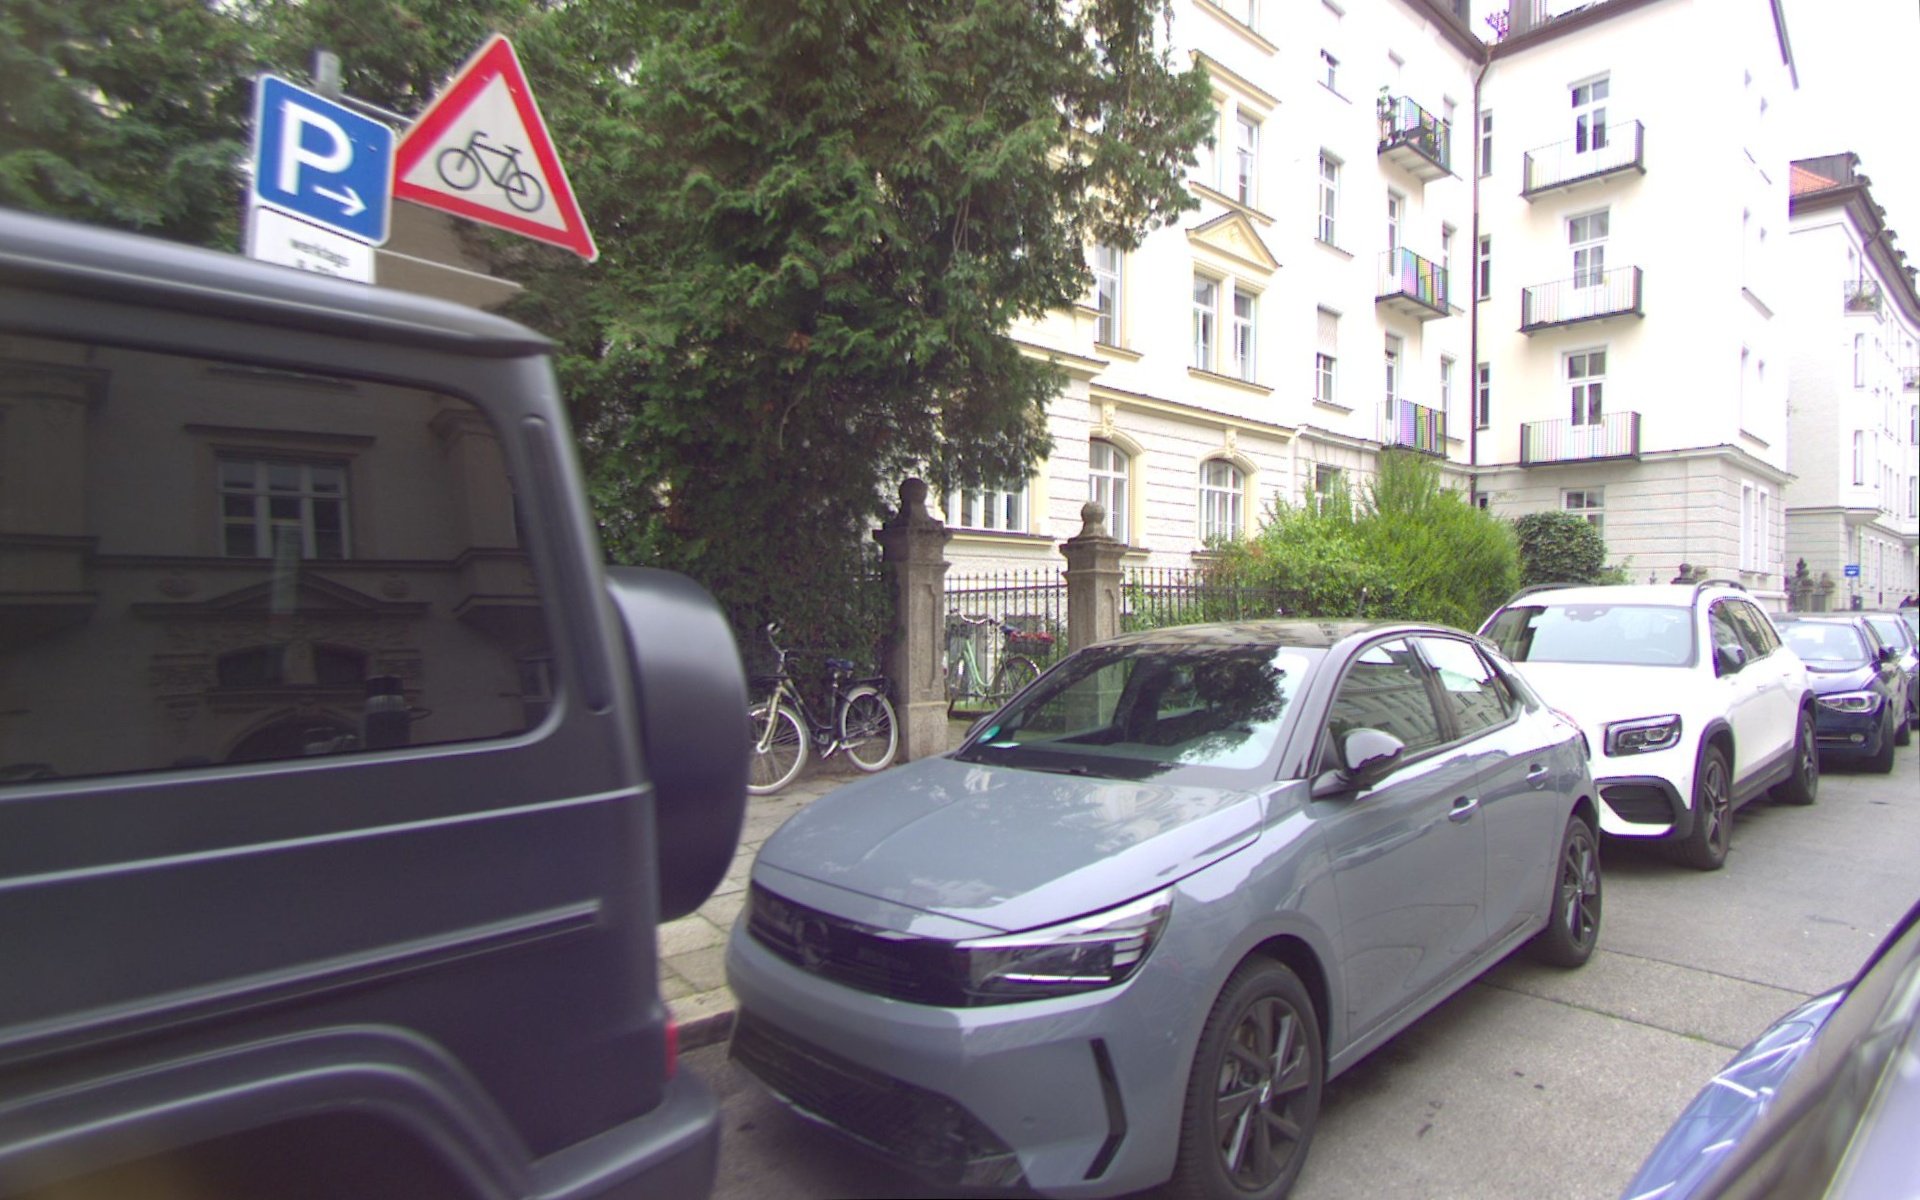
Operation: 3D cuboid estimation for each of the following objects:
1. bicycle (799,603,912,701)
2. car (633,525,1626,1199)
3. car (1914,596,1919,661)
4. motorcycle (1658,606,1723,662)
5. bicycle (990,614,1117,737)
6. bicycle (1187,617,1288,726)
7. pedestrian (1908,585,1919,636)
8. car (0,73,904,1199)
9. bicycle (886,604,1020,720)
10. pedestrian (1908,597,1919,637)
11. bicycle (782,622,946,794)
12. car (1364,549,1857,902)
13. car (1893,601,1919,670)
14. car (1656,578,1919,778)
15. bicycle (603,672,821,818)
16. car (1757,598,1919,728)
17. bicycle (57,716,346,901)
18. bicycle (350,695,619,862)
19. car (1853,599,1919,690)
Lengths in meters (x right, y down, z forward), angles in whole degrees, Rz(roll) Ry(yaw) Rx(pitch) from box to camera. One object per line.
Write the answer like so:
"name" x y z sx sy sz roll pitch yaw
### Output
"bicycle" -1.342 0.623 12.753 0.481 1.123 1.701 0 1 -43
"car" 0.889 0.649 3.697 3.569 1.538 1.724 -1 -2 -43
"car" 25.727 0.675 25.499 4.320 1.590 1.825 1 -3 -39
"motorcycle" 15.594 0.698 21.587 1.928 1.126 0.609 0 1 -38
"bicycle" 0.913 0.717 10.121 0.448 1.112 1.311 0 0 -42
"bicycle" 3.073 0.753 11.150 1.291 1.112 0.455 0 0 -43
"pedestrian" 35.402 0.383 36.988 1.090 1.834 0.886 0 0 -36
"car" -2.448 0.456 0.976 4.584 1.980 1.953 1 -2 -42
"bicycle" -0.113 0.652 11.291 0.481 1.198 1.701 0 -1 -42
"pedestrian" 44.438 0.778 46.716 1.091 1.836 0.885 1 -1 -40
"bicycle" -0.677 0.743 7.505 0.510 1.108 1.339 1 1 31
"car" 4.826 0.647 7.235 4.335 1.792 1.725 -1 -2 -40
"car" 21.549 0.731 21.801 3.391 1.424 1.757 0 -1 -41
"car" 8.736 0.675 10.429 4.350 1.631 1.751 1 -2 -44
"bicycle" -1.634 0.924 6.777 1.330 0.791 0.514 0 0 -40
"car" 12.195 0.743 13.672 3.950 1.523 1.685 0 -1 -43
"bicycle" -3.740 0.988 5.042 1.103 0.691 0.514 0 0 -40
"bicycle" -2.731 0.984 5.882 1.330 0.744 0.514 0 0 -40
"car" 17.610 0.742 18.203 3.994 1.523 1.787 0 -1 -41
